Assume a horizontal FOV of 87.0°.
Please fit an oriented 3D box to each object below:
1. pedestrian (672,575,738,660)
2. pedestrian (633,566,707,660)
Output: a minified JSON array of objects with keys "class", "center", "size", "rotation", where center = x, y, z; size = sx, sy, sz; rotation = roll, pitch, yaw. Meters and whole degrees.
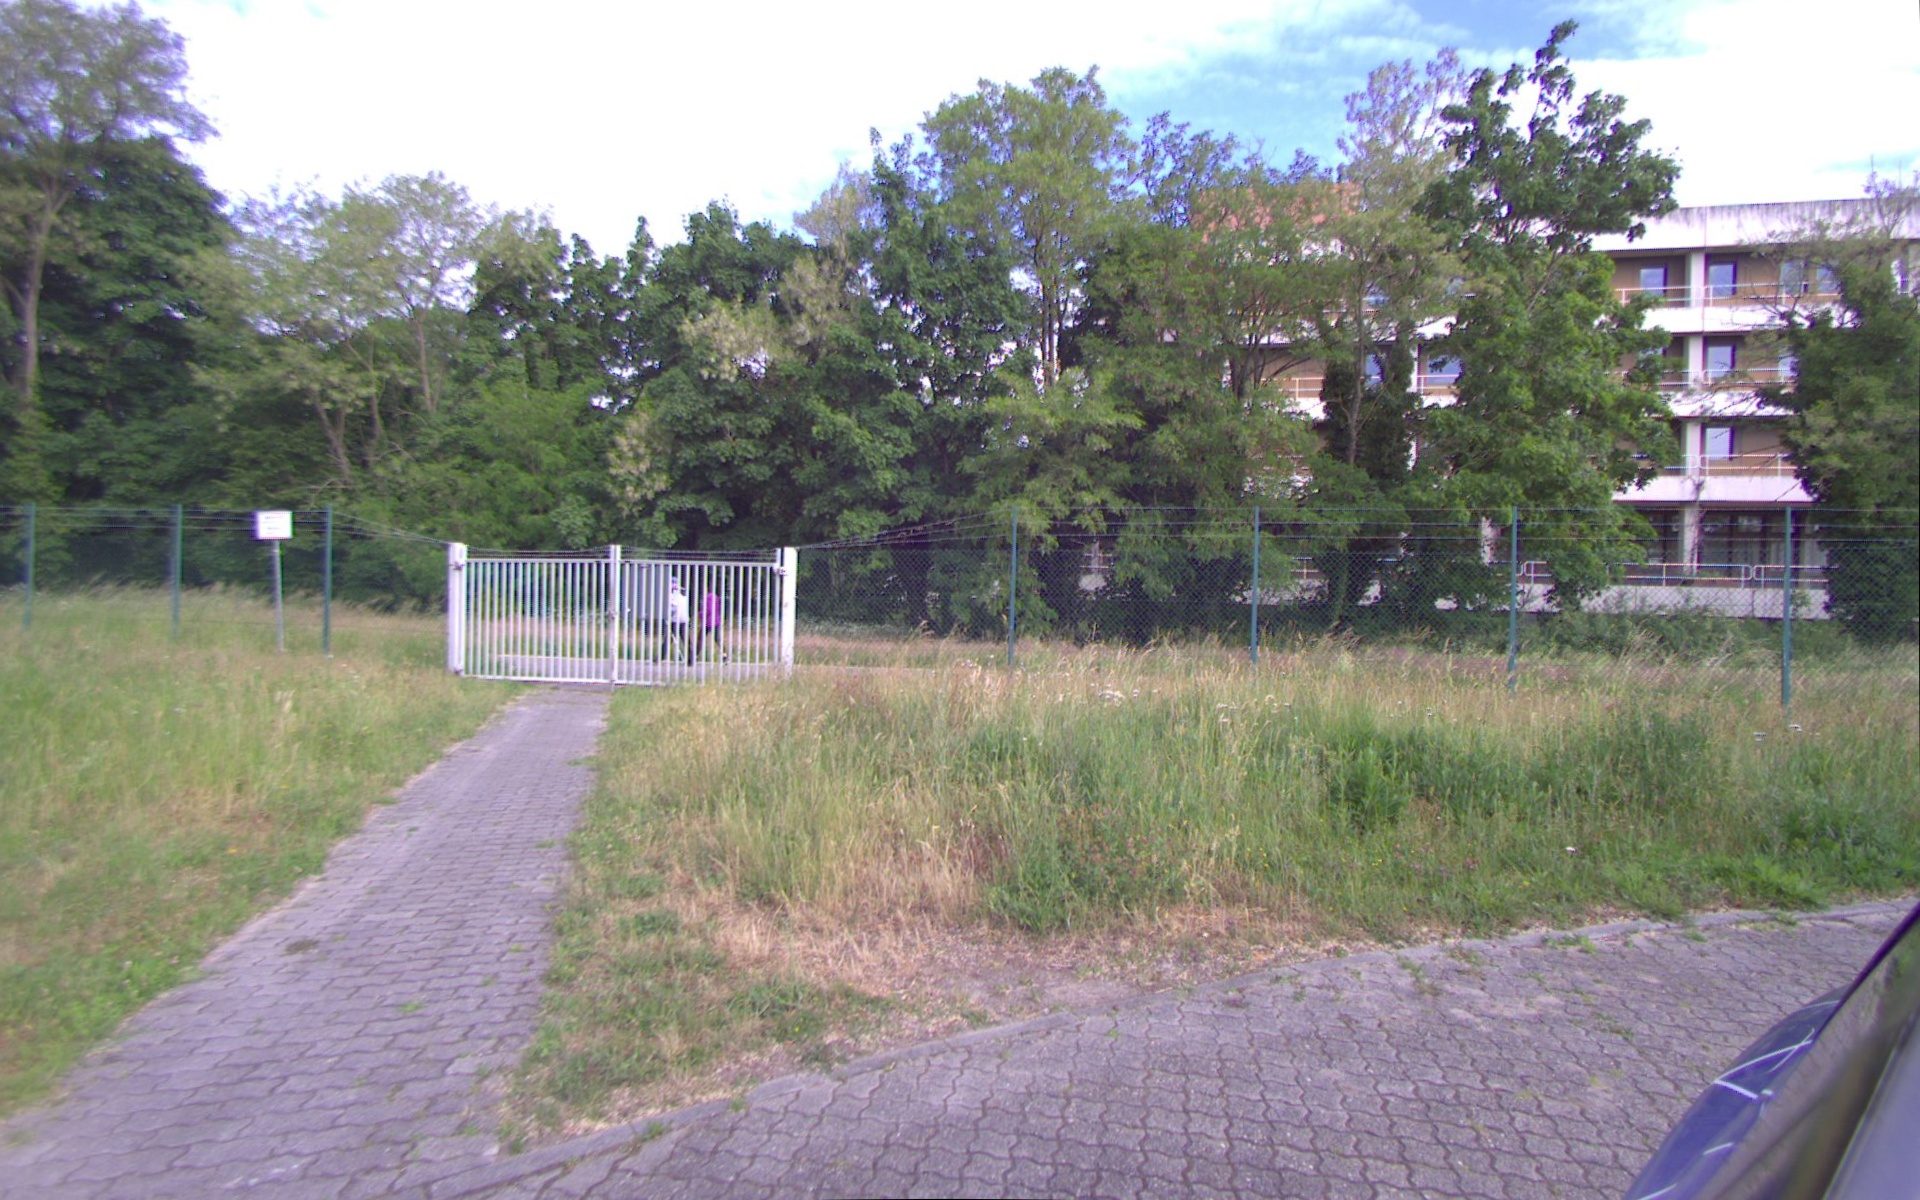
[{"class":"pedestrian","center":[-4.977,0.328,19.763],"size":[1.020,1.594,0.734],"rotation":[1,1,14]},{"class":"pedestrian","center":[-5.459,0.230,19.078],"size":[1.023,1.703,0.840],"rotation":[1,1,17]}]
